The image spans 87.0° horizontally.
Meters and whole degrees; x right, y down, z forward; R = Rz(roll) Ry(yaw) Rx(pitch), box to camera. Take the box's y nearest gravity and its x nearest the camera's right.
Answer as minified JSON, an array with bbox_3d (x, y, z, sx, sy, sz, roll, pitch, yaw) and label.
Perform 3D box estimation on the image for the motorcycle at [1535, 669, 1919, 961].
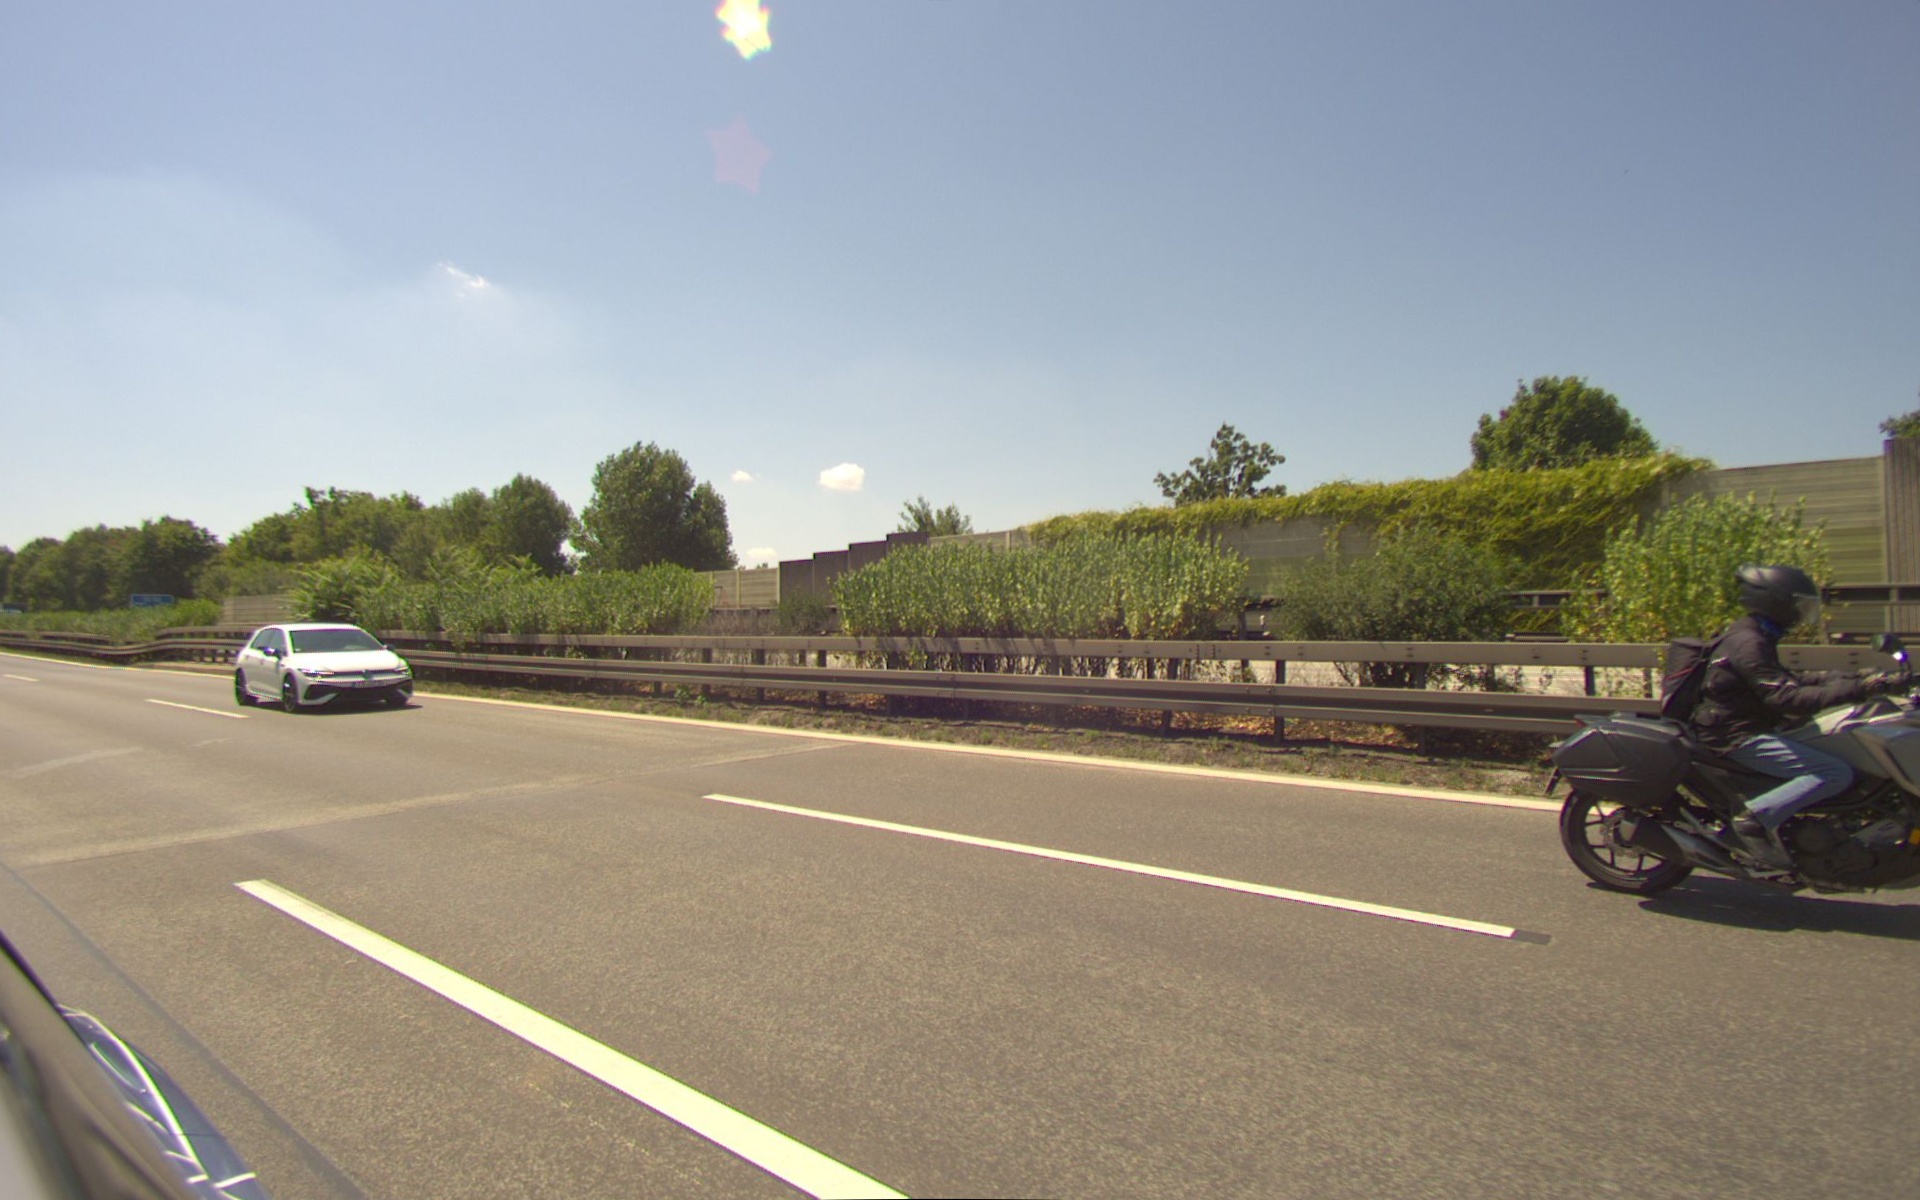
[{"bbox_3d":[4.186,0.900,4.384,2.845,1.097,0.904,-2,-1,37],"label":"motorcycle"}]

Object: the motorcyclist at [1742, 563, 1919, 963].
[{"bbox_3d":[4.220,0.654,4.363,1.297,1.609,0.885,-1,-1,37],"label":"motorcyclist"}]

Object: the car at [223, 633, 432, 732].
[{"bbox_3d":[-11.093,1.326,17.612,4.665,1.451,1.763,-1,-1,40],"label":"car"}]

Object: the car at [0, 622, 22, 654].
[{"bbox_3d":[-85.992,3.400,90.461,6.212,2.779,2.219,-2,-1,39],"label":"car"}]

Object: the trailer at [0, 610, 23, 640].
[{"bbox_3d":[-127.242,3.298,134.462,13.668,3.882,2.677,-1,-1,42],"label":"trailer"}]
